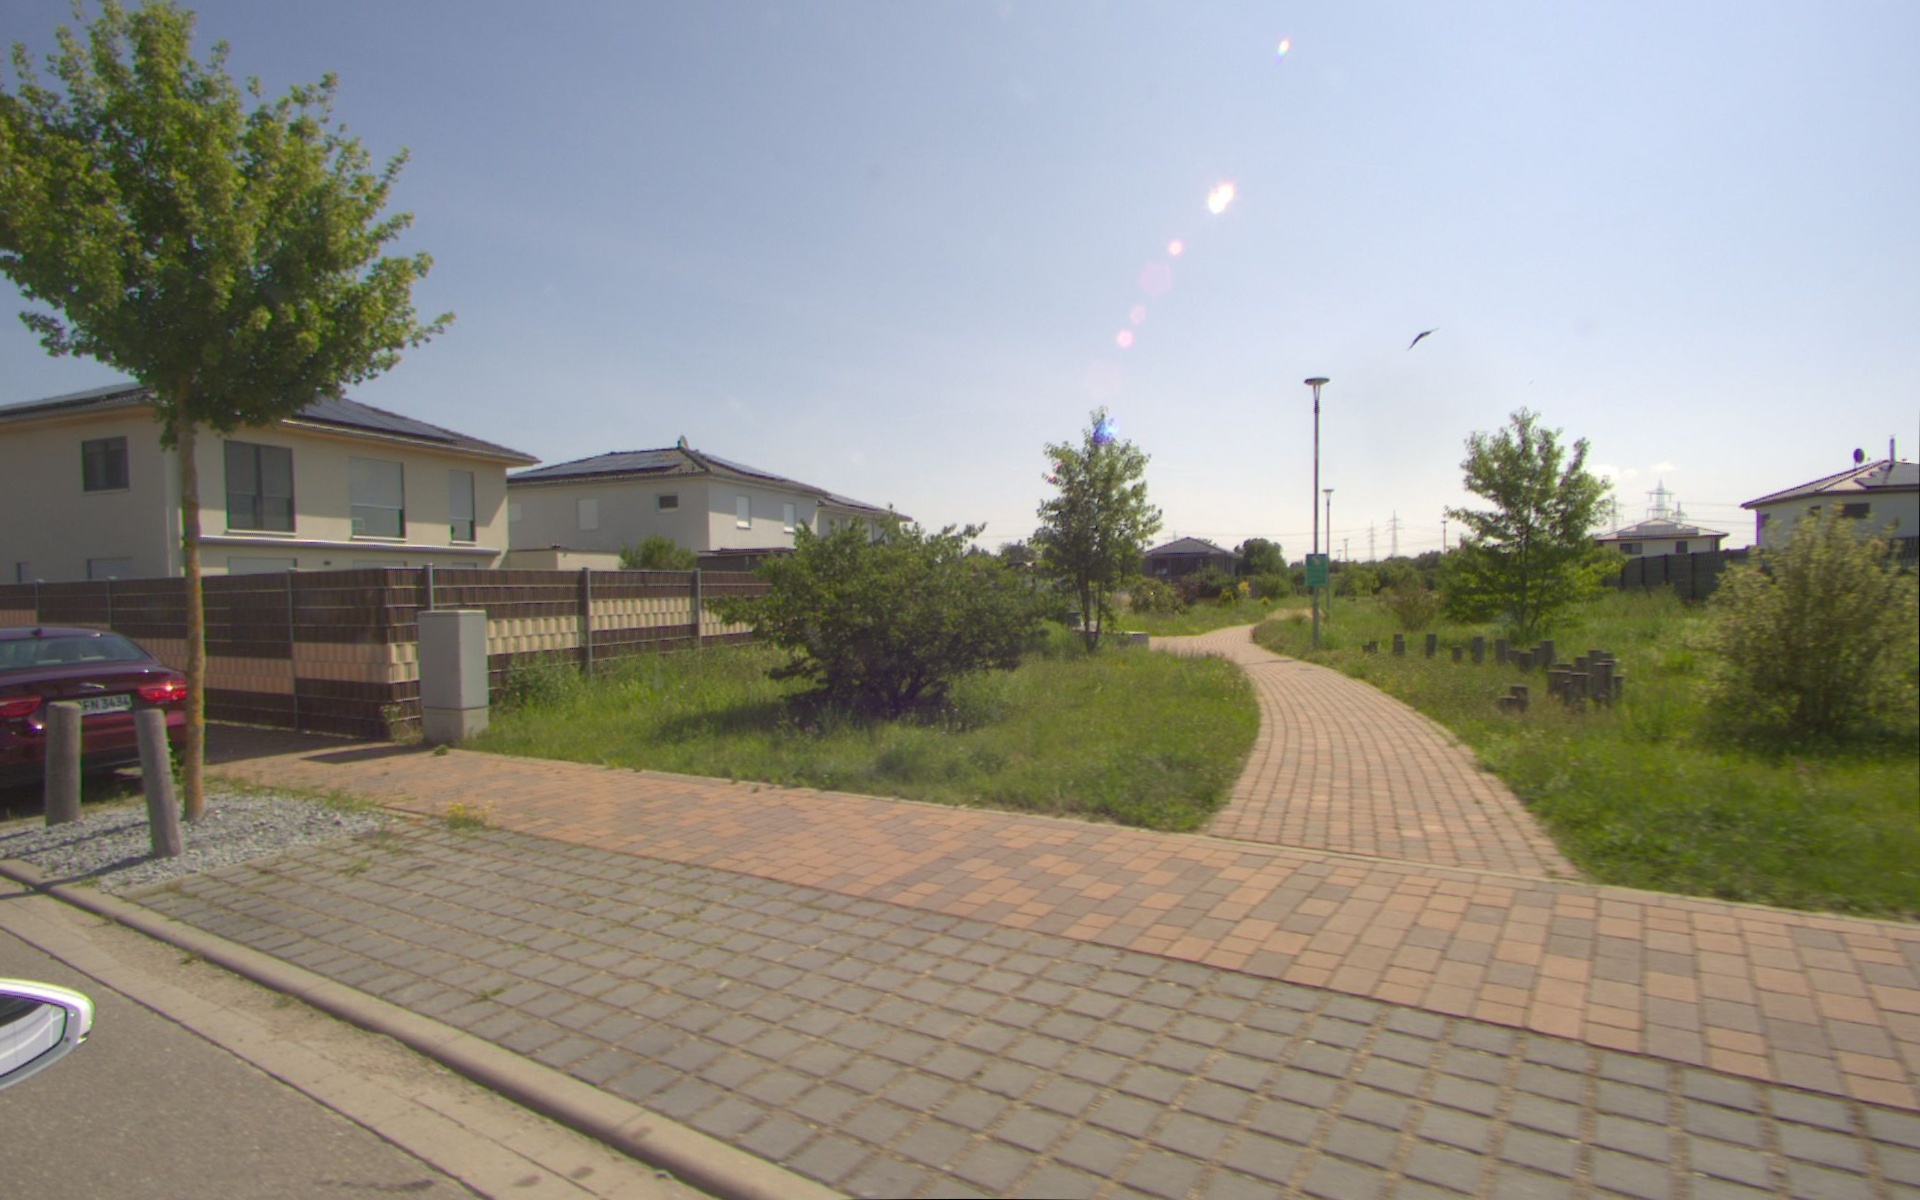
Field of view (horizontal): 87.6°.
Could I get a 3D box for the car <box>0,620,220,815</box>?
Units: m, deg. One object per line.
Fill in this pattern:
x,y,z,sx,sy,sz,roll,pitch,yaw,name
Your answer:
-8.714,0.904,8.996,4.509,1.381,1.751,-1,1,32,car
